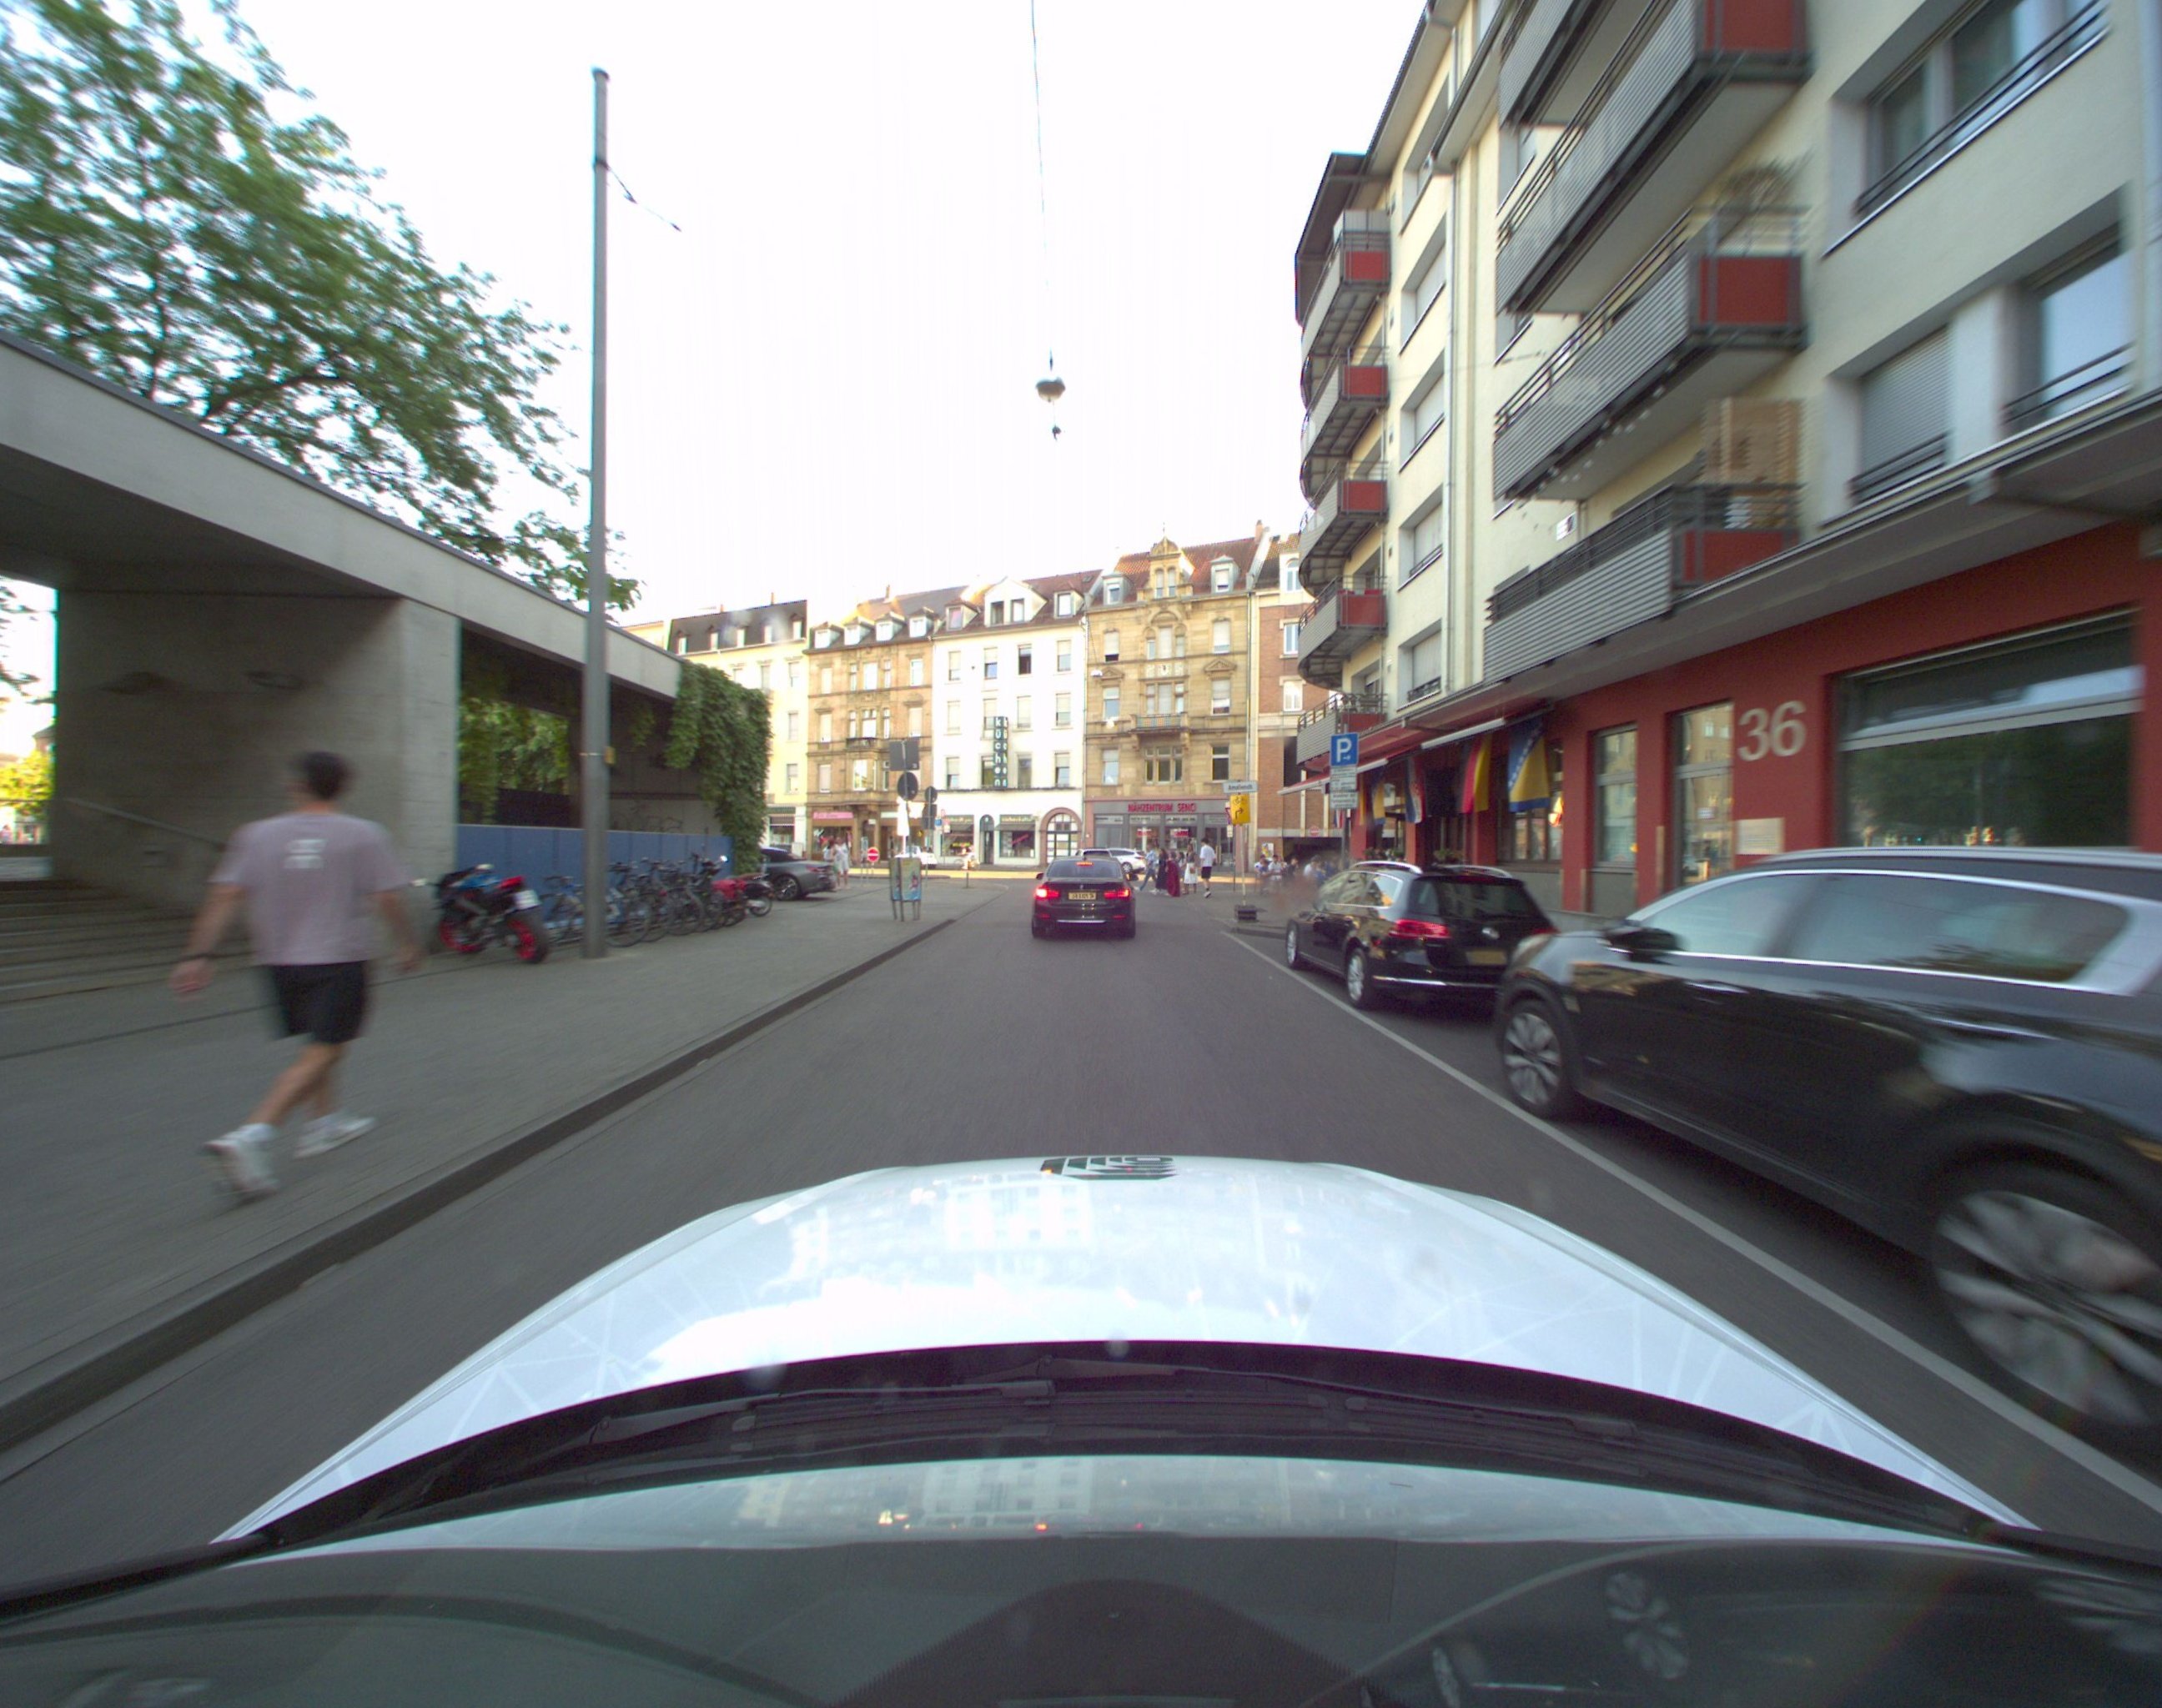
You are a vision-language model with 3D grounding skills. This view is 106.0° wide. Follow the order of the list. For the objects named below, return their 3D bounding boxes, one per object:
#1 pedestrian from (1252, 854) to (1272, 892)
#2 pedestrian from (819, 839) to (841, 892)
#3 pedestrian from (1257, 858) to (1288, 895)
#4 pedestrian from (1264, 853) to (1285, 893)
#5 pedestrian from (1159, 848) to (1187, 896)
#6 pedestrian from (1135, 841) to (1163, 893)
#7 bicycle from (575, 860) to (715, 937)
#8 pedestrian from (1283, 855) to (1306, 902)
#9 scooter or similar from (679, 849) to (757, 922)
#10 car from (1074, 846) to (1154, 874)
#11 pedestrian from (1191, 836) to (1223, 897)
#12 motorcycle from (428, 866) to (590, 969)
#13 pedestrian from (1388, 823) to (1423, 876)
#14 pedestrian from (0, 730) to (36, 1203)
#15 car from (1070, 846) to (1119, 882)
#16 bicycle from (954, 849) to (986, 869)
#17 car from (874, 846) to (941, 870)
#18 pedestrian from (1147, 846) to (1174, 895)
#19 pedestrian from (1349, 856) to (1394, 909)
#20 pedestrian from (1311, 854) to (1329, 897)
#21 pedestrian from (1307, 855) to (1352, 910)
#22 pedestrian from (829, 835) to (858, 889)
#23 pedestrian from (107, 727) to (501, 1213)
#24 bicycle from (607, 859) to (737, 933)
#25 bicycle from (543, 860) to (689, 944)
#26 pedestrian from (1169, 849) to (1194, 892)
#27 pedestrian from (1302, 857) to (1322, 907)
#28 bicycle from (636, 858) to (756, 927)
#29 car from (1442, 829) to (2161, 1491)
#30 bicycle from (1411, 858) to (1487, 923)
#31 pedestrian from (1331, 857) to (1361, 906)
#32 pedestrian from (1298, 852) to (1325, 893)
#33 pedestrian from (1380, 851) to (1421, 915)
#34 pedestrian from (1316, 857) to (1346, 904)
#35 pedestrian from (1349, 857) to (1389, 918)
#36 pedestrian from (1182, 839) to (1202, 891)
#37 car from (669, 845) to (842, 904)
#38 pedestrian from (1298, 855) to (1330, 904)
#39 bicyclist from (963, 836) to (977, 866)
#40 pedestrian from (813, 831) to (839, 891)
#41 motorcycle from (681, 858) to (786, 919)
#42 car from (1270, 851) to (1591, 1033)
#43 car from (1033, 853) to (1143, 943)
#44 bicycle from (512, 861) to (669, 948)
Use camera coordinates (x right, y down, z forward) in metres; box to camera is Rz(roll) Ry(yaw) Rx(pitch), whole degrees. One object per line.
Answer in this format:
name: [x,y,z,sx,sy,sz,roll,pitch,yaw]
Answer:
pedestrian: [6.145,0.631,27.655,0.614,1.254,0.737,0,0,6]
pedestrian: [-7.801,0.355,25.303,0.498,1.643,0.521,0,0,2]
pedestrian: [5.998,0.693,25.513,0.885,1.149,0.620,0,0,7]
pedestrian: [6.247,0.609,26.362,0.613,1.284,0.661,0,0,9]
pedestrian: [2.992,0.567,26.463,0.735,1.513,0.648,2,0,-9]
pedestrian: [2.346,0.439,27.966,0.891,1.725,0.609,1,2,6]
bicycle: [-6.614,0.670,12.419,1.791,1.107,0.499,2,0,-5]
pedestrian: [5.980,0.681,22.863,0.489,1.303,0.418,-3,0,0]
scooter or similar: [-6.564,0.570,14.779,1.207,1.274,0.420,2,0,-16]
car: [1.921,0.353,47.851,4.313,1.562,1.879,0,0,23]
pedestrian: [3.947,0.390,25.527,0.682,1.877,0.692,1,0,-44]
motorcycle: [-6.776,0.708,9.642,1.784,1.064,0.769,2,0,26]
pedestrian: [10.217,-0.142,25.632,0.716,1.607,0.682,2,0,-26]
pedestrian: [-4.487,0.426,2.669,0.739,1.812,1.009,3,0,0]
car: [0.643,0.406,35.454,1.869,1.473,4.005,0,1,4]
bicycle: [-6.530,0.287,47.858,1.781,1.107,0.540,1,0,14]
car: [-11.446,0.251,53.726,3.952,1.510,1.810,0,0,23]
pedestrian: [2.634,0.544,27.079,0.724,1.609,0.648,2,0,-9]
pedestrian: [7.057,0.673,19.807,0.776,1.223,0.714,-3,0,0]
pedestrian: [7.163,0.629,24.445,0.486,1.276,0.523,0,0,13]
pedestrian: [5.892,0.668,19.314,0.856,1.257,0.491,-3,0,0]
pedestrian: [-7.778,0.253,26.651,0.665,1.746,0.661,0,0,40]
pedestrian: [-3.432,0.451,3.729,0.741,1.893,1.051,2,0,1]
bicycle: [-6.568,0.663,13.123,1.790,1.107,0.500,2,0,-3]
bicycle: [-6.642,0.672,11.670,1.787,1.107,0.500,2,0,2]
pedestrian: [3.485,0.560,28.265,0.812,1.474,0.607,0,0,4]
pedestrian: [5.863,0.704,20.642,0.340,1.257,0.362,-3,0,34]
bicycle: [-6.607,0.657,14.019,1.788,1.107,0.500,2,0,0]
car: [3.611,0.776,3.744,1.759,1.642,4.791,3,1,1]
bicycle: [6.963,0.670,15.505,0.534,1.154,1.741,-1,-2,-4]
pedestrian: [6.714,0.696,20.631,0.421,1.201,0.531,-3,0,-42]
pedestrian: [7.399,0.595,26.163,0.611,1.279,0.705,0,0,38]
pedestrian: [6.980,0.624,17.796,0.605,1.348,0.696,-1,0,-1]
pedestrian: [6.535,0.690,21.317,0.421,1.201,0.563,-3,0,-41]
pedestrian: [6.163,0.709,17.446,0.683,1.286,0.610,-1,0,10]
pedestrian: [3.779,0.381,27.724,0.664,1.746,0.608,0,0,6]
car: [-8.700,0.513,22.114,3.984,1.501,1.886,0,1,-8]
pedestrian: [6.332,0.683,22.143,0.631,1.276,0.505,-3,0,-37]
bicyclist: [-6.530,-0.162,47.863,0.613,1.756,0.527,1,0,14]
pedestrian: [-8.109,0.228,25.929,0.580,1.882,0.634,0,0,6]
motorcycle: [-6.680,0.660,15.676,1.758,1.101,0.561,2,0,-34]
car: [3.664,0.777,9.636,1.759,1.502,4.791,3,1,1]
car: [0.165,0.707,15.599,1.759,1.375,4.791,1,1,1]
bicycle: [-6.644,0.675,11.075,1.789,1.107,0.500,2,0,-1]
